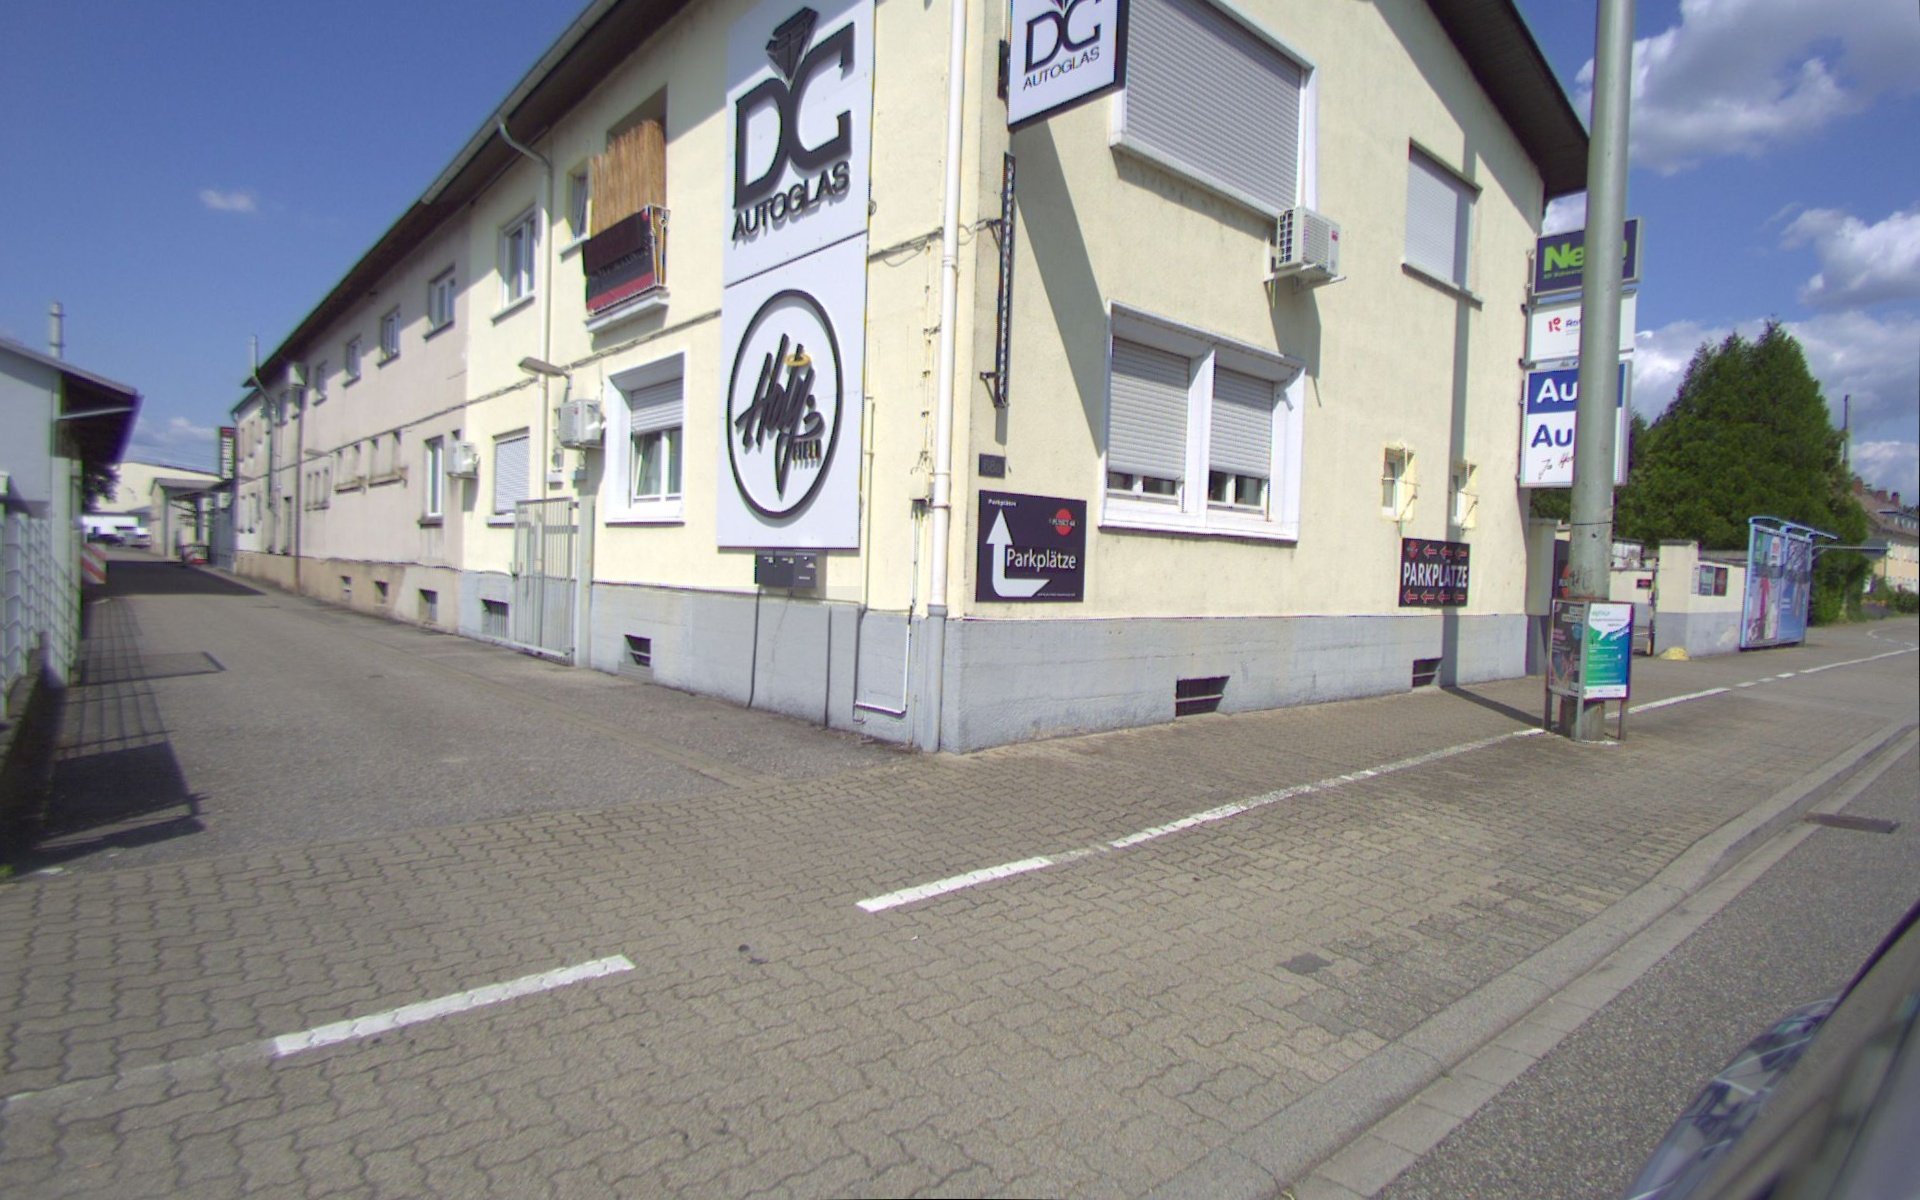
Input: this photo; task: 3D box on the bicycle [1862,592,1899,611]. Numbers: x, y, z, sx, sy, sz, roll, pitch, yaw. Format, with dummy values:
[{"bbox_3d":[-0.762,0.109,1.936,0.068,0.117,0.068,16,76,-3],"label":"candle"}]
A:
[{"bbox_3d":[59.897,0.099,65.855,0.285,1.116,1.693,1,2,-41],"label":"bicycle"}]
